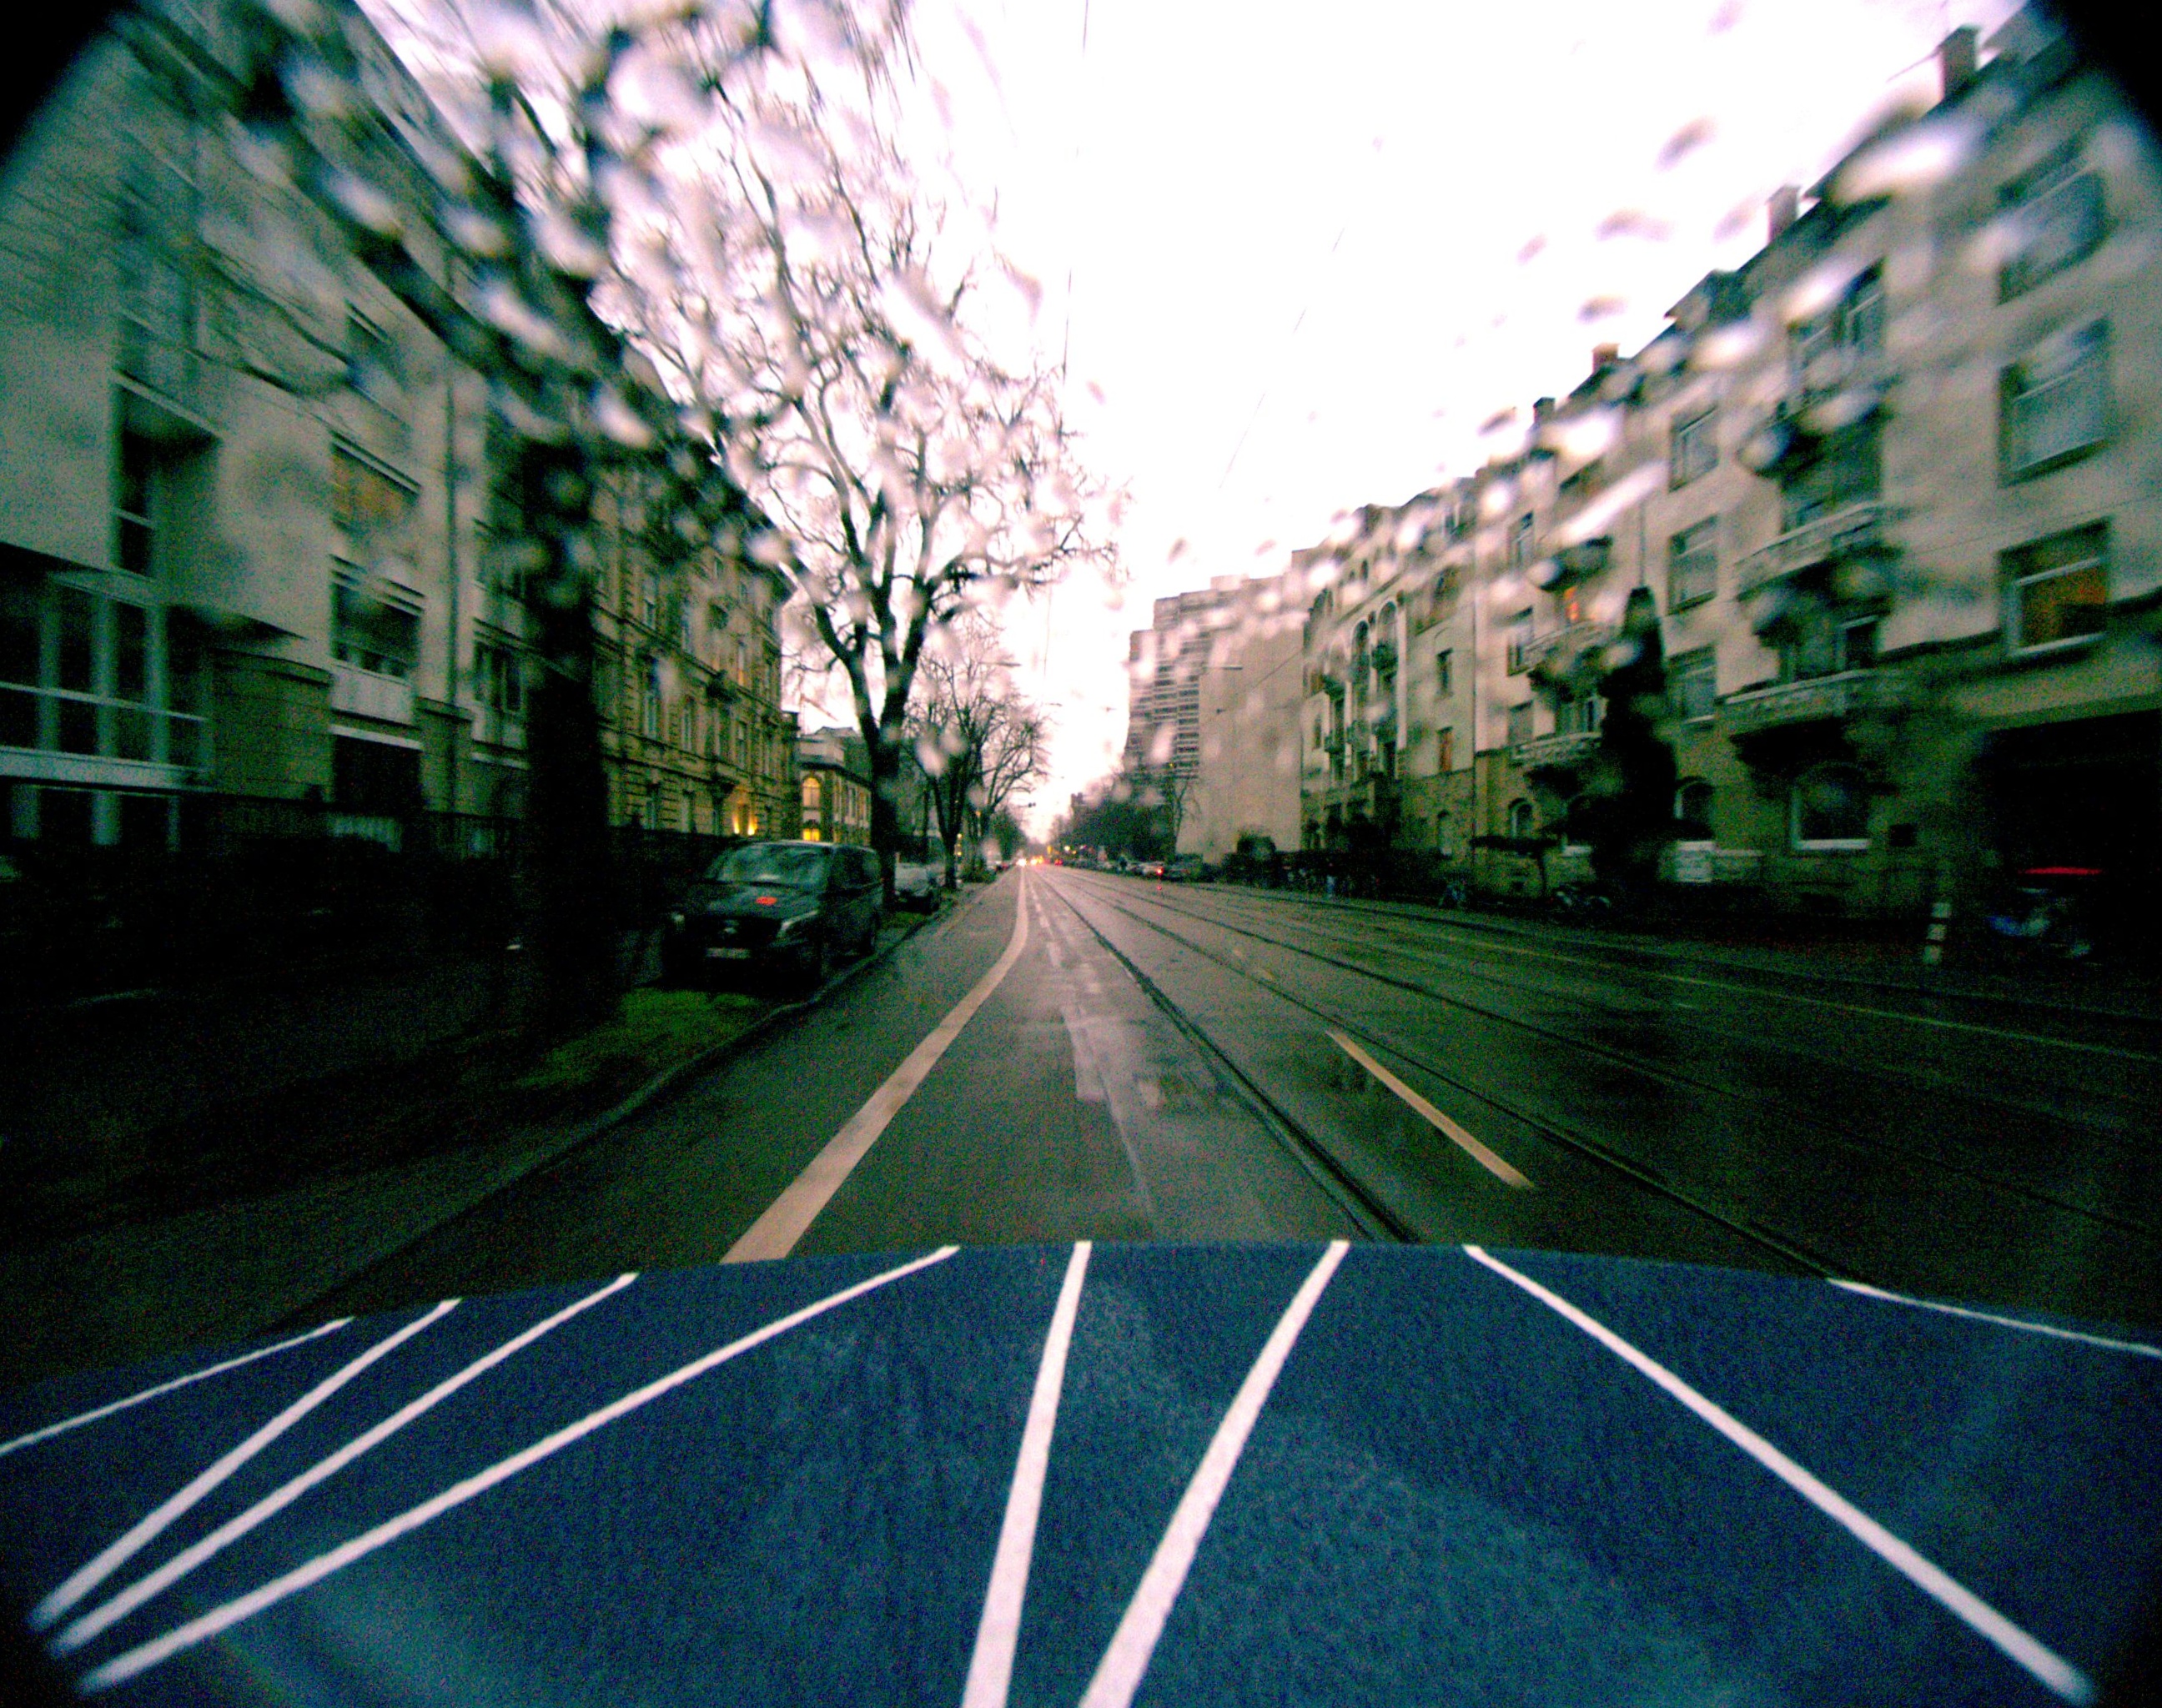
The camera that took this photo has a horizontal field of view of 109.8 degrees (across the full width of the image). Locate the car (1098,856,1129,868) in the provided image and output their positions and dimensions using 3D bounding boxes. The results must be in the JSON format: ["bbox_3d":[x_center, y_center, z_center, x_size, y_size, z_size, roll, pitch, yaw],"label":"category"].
[{"bbox_3d":[4.483,1.100,104.865,4.008,1.586,1.864,0,0,-41],"label":"car"}]

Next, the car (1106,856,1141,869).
[{"bbox_3d":[5.164,0.999,91.664,4.008,1.586,1.864,0,0,-41],"label":"car"}]

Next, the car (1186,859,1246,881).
[{"bbox_3d":[9.622,1.097,54.105,4.007,1.485,1.864,0,0,-32],"label":"car"}]

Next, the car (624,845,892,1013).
[{"bbox_3d":[-4.222,0.849,10.986,2.036,1.864,4.961,1,0,-4],"label":"car"}]

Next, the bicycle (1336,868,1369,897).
[{"bbox_3d":[10.403,1.082,29.183,0.625,1.059,1.726,0,0,-2],"label":"bicycle"}]

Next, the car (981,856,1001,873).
[{"bbox_3d":[-9.519,1.041,80.351,2.000,1.672,3.997,-1,1,-7],"label":"car"}]

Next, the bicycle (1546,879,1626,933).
[{"bbox_3d":[11.142,1.117,16.825,0.625,1.086,1.662,0,0,-2],"label":"bicycle"}]

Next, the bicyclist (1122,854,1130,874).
[{"bbox_3d":[4.099,0.903,69.270,0.625,1.865,0.991,0,0,-2],"label":"bicyclist"}]

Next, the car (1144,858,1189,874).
[{"bbox_3d":[7.867,1.091,69.897,4.008,1.440,1.864,0,0,-41],"label":"car"}]

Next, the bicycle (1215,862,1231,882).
[{"bbox_3d":[8.839,1.116,47.293,0.625,1.157,1.662,-1,0,-2],"label":"bicycle"}]

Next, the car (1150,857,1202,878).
[{"bbox_3d":[7.491,1.059,59.647,4.008,1.586,1.864,0,0,-41],"label":"car"}]

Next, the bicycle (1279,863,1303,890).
[{"bbox_3d":[9.822,1.043,35.656,0.625,1.205,1.662,0,0,-2],"label":"bicycle"}]

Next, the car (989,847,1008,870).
[{"bbox_3d":[-9.842,0.533,90.306,2.094,2.622,5.445,-1,1,-7],"label":"car"}]

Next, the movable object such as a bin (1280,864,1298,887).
[{"bbox_3d":[10.419,1.071,38.078,0.659,1.157,0.674,0,0,-1],"label":"movable object such as a bin"}]

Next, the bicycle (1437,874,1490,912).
[{"bbox_3d":[10.904,1.090,21.708,0.625,0.997,1.662,0,0,-2],"label":"bicycle"}]

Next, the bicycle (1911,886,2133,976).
[{"bbox_3d":[13.225,1.059,10.711,2.355,1.099,0.695,-2,1,-2],"label":"bicycle"}]

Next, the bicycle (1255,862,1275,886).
[{"bbox_3d":[9.623,1.029,39.817,0.625,1.205,1.662,0,0,-2],"label":"bicycle"}]

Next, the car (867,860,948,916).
[{"bbox_3d":[-5.032,0.938,22.539,1.763,1.437,4.156,2,-1,-5],"label":"car"}]

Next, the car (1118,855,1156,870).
[{"bbox_3d":[6.107,0.882,83.007,4.008,1.586,1.864,0,0,-41],"label":"car"}]

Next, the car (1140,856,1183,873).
[{"bbox_3d":[7.845,0.973,73.845,4.008,1.586,1.864,0,0,-41],"label":"car"}]

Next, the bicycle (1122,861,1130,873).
[{"bbox_3d":[4.107,1.178,69.243,0.625,1.086,1.947,0,0,-2],"label":"bicycle"}]

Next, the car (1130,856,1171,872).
[{"bbox_3d":[6.982,0.975,76.402,4.008,1.586,1.864,0,0,-41],"label":"car"}]

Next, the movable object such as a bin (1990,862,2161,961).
[{"bbox_3d":[15.186,0.837,11.635,1.105,1.371,1.167,-3,0,-2],"label":"movable object such as a bin"}]

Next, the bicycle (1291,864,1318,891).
[{"bbox_3d":[9.896,1.038,33.694,0.625,1.157,1.662,0,0,-2],"label":"bicycle"}]

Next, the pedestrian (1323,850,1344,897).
[{"bbox_3d":[9.564,0.727,28.801,0.574,1.715,0.644,-1,2,0],"label":"pedestrian"}]

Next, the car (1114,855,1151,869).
[{"bbox_3d":[5.843,0.862,86.391,4.008,1.586,1.864,0,0,-41],"label":"car"}]

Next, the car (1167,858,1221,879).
[{"bbox_3d":[8.458,1.052,56.637,4.008,1.477,1.760,0,0,-41],"label":"car"}]

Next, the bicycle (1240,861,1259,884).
[{"bbox_3d":[9.344,1.022,42.261,0.625,1.205,1.662,0,0,-2],"label":"bicycle"}]

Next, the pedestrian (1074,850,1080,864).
[{"bbox_3d":[-0.643,0.518,129.235,0.952,2.246,1.119,-1,1,1],"label":"pedestrian"}]

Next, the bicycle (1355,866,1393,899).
[{"bbox_3d":[10.465,1.018,27.214,0.625,1.119,1.783,0,0,-2],"label":"bicycle"}]

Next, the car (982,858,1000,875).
[{"bbox_3d":[-8.376,1.146,70.441,1.629,1.399,3.997,-1,1,-7],"label":"car"}]

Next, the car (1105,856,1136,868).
[{"bbox_3d":[5.382,1.129,103.028,4.008,1.586,1.864,0,0,-41],"label":"car"}]

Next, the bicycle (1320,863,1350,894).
[{"bbox_3d":[10.329,0.978,30.966,0.625,1.205,1.662,0,0,-2],"label":"bicycle"}]

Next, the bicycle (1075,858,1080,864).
[{"bbox_3d":[-0.637,1.134,129.248,0.858,0.986,1.918,-1,1,0],"label":"bicycle"}]
